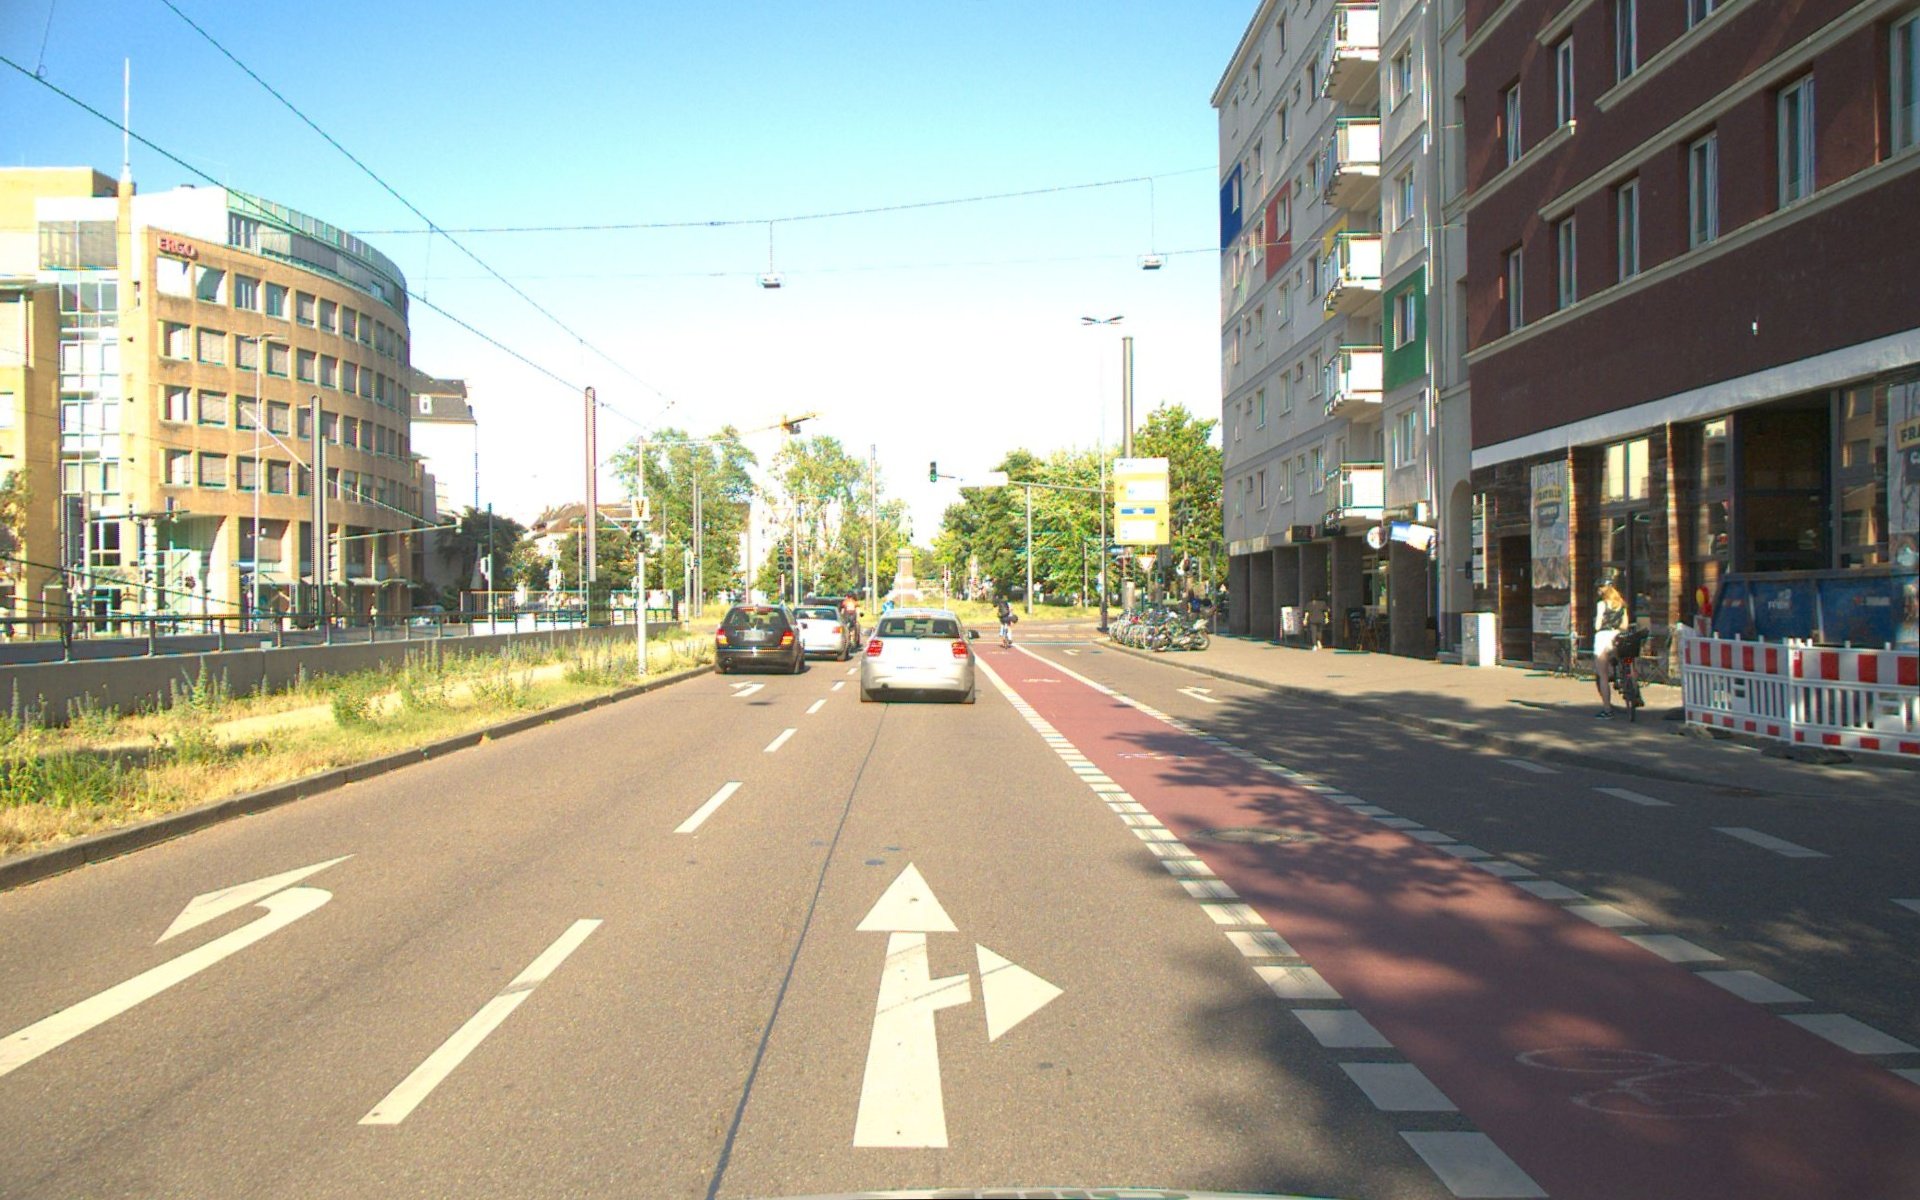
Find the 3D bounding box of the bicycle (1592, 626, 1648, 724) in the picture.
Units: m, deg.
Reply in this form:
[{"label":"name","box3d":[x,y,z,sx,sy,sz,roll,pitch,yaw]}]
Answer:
[{"label":"bicycle","box3d":[7.993,0.887,20.058,0.311,1.104,1.686,-1,0,11]}]

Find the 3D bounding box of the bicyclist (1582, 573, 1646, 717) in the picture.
[{"label":"bicyclist","box3d":[7.934,0.544,20.080,0.588,1.719,0.598,-1,0,9]}]

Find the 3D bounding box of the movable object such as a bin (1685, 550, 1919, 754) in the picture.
[{"label":"movable object such as a bin","box3d":[9.325,0.443,17.032,1.908,1.875,3.475,-1,1,-7]}]

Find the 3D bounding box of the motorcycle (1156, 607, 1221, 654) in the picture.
[{"label":"motorcycle","box3d":[6.731,0.888,48.820,1.816,1.323,0.652,-2,-1,2]}]

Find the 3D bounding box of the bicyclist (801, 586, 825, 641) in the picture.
[{"label":"bicyclist","box3d":[-4.347,0.397,48.982,0.604,1.599,0.686,1,-1,0]}]

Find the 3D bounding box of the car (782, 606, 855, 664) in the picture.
[{"label":"car","box3d":[-3.666,0.892,43.368,1.611,1.446,3.999,1,-1,-1]}]

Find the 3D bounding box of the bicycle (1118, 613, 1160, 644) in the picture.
[{"label":"bicycle","box3d":[6.353,1.008,58.590,1.435,1.086,0.257,-1,-1,1]}]

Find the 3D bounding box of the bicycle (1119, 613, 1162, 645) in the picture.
[{"label":"bicycle","box3d":[6.355,1.023,58.255,1.435,1.086,0.257,-1,-1,1]}]

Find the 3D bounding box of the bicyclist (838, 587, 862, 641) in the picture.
[{"label":"bicyclist","box3d":[-3.277,0.414,49.235,0.606,1.599,0.684,0,0,-13]}]

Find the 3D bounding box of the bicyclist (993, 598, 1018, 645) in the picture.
[{"label":"bicyclist","box3d":[1.524,0.713,55.317,0.769,1.558,0.894,1,-1,-1]}]

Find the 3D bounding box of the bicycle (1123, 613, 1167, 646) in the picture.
[{"label":"bicycle","box3d":[6.349,1.012,56.814,1.435,1.086,0.257,-1,-1,1]}]

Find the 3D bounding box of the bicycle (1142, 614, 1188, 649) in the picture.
[{"label":"bicycle","box3d":[6.578,1.027,53.147,1.435,1.086,0.257,-1,-1,1]}]

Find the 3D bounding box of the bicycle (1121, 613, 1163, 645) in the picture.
[{"label":"bicycle","box3d":[6.375,1.011,57.907,1.435,1.086,0.257,-1,-1,1]}]

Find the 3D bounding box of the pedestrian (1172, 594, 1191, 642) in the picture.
[{"label":"pedestrian","box3d":[9.696,0.784,72.429,0.774,2.049,0.870,1,-1,6]}]

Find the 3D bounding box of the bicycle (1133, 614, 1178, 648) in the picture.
[{"label":"bicycle","box3d":[6.482,1.040,54.879,1.435,1.086,0.257,-1,-1,1]}]

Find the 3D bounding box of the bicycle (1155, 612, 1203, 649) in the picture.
[{"label":"bicycle","box3d":[6.708,0.927,50.702,1.435,1.086,0.257,-1,-1,1]}]

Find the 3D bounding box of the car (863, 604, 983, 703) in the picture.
[{"label":"car","box3d":[-0.591,0.787,26.246,1.761,1.439,3.999,0,0,-1]}]

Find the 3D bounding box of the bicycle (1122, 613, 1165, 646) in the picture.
[{"label":"bicycle","box3d":[6.373,1.021,57.566,1.435,1.086,0.257,-1,-1,1]}]

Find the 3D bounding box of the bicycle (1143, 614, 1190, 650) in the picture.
[{"label":"bicycle","box3d":[6.584,1.019,52.775,1.435,1.086,0.257,-1,-1,1]}]

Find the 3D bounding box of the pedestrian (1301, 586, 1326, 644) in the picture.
[{"label":"pedestrian","box3d":[9.855,0.416,46.138,0.561,1.610,0.556,0,0,-1]}]

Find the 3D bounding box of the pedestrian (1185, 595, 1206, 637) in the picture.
[{"label":"pedestrian","box3d":[10.547,0.714,74.125,0.808,1.889,0.917,1,-1,13]}]

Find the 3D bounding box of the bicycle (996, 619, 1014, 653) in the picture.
[{"label":"bicycle","box3d":[1.494,1.197,55.322,0.489,1.107,1.996,1,-1,-1]}]

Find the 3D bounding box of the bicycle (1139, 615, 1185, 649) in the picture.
[{"label":"bicycle","box3d":[6.560,1.035,53.814,1.435,1.086,0.257,-1,-1,1]}]

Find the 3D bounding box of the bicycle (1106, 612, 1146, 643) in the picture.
[{"label":"bicycle","box3d":[6.116,1.020,60.965,1.435,1.086,0.257,-1,-1,1]}]

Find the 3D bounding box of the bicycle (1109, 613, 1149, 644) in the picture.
[{"label":"bicycle","box3d":[6.143,1.030,60.150,1.435,1.086,0.257,-1,-1,1]}]

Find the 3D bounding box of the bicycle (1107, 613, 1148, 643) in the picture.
[{"label":"bicycle","box3d":[6.136,1.025,60.521,1.435,1.086,0.257,-1,-1,1]}]

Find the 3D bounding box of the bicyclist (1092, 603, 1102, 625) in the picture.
[{"label":"bicyclist","box3d":[8.881,0.937,107.367,0.604,1.404,0.686,1,-1,0]}]

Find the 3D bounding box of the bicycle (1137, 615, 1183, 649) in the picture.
[{"label":"bicycle","box3d":[6.545,1.045,54.192,1.435,1.086,0.257,-1,-1,1]}]

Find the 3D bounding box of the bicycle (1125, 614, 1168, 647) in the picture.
[{"label":"bicycle","box3d":[6.364,1.033,56.491,1.435,1.086,0.257,-1,-1,1]}]

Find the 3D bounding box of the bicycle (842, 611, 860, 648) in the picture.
[{"label":"bicycle","box3d":[-3.241,0.876,49.211,0.332,1.075,1.774,0,0,-11]}]

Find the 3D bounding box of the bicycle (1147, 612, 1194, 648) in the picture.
[{"label":"bicycle","box3d":[6.620,0.945,51.984,1.435,1.086,0.257,-1,-1,1]}]

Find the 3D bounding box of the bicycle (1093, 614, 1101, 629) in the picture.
[{"label":"bicycle","box3d":[8.902,1.370,107.410,0.344,0.975,1.572,1,-1,0]}]

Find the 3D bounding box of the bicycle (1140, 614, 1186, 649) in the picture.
[{"label":"bicycle","box3d":[6.570,1.023,53.492,1.435,1.086,0.257,-1,-1,1]}]

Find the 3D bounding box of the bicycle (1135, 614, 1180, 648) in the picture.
[{"label":"bicycle","box3d":[6.508,1.028,54.537,1.435,1.086,0.257,-1,-1,1]}]

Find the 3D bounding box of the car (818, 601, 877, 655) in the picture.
[{"label":"car","box3d":[-3.515,0.857,52.443,1.669,1.650,3.999,0,0,-1]}]

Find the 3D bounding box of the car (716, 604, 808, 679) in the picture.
[{"label":"car","box3d":[-4.160,0.841,35.316,1.692,1.496,4.407,0,0,-4]}]
